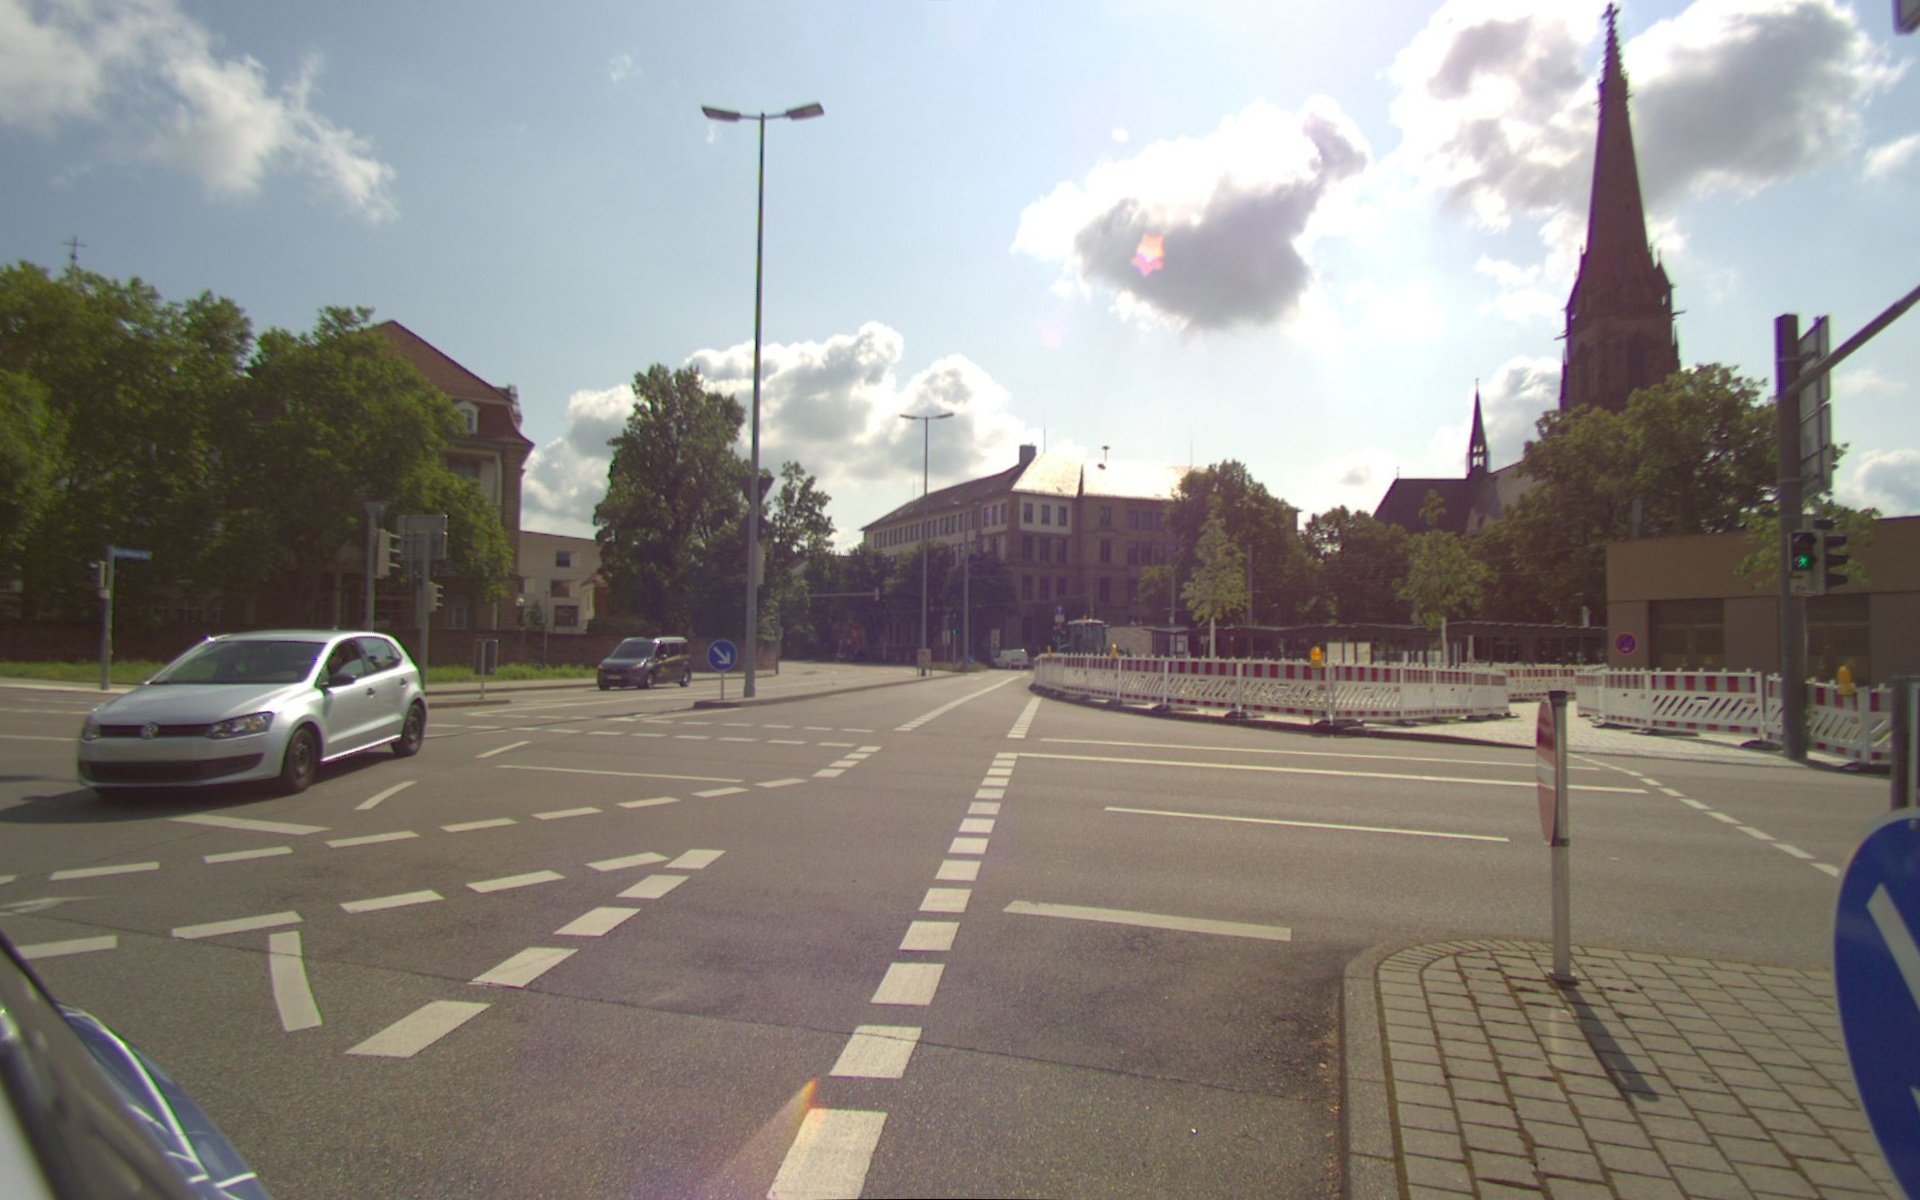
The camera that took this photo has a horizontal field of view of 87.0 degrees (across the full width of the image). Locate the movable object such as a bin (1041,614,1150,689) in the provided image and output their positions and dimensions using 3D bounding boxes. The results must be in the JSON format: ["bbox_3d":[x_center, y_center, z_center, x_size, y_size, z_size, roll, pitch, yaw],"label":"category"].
[{"bbox_3d":[5.671,2.184,42.729,1.967,2.972,4.460,4,-4,-37],"label":"movable object such as a bin"}]

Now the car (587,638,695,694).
[{"bbox_3d":[-11.028,2.290,35.340,1.833,1.799,4.660,-1,-4,7],"label":"car"}]

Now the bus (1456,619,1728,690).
[{"bbox_3d":[32.443,2.798,52.951,2.942,3.287,12.112,2,-3,-29],"label":"bus"}]

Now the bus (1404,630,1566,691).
[{"bbox_3d":[28.169,3.246,54.744,2.333,3.081,7.787,3,-4,-29],"label":"bus"}]

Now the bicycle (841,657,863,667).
[{"bbox_3d":[-14.609,8.404,136.900,2.867,1.216,1.045,0,0,14],"label":"bicycle"}]

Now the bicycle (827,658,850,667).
[{"bbox_3d":[-16.731,8.595,139.344,2.867,1.216,1.068,0,0,14],"label":"bicycle"}]

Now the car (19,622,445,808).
[{"bbox_3d":[-6.744,1.002,9.995,1.631,1.453,4.010,1,-3,-6],"label":"car"}]

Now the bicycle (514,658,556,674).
[{"bbox_3d":[-24.490,3.814,58.293,2.028,0.867,0.860,4,-3,-40],"label":"bicycle"}]
